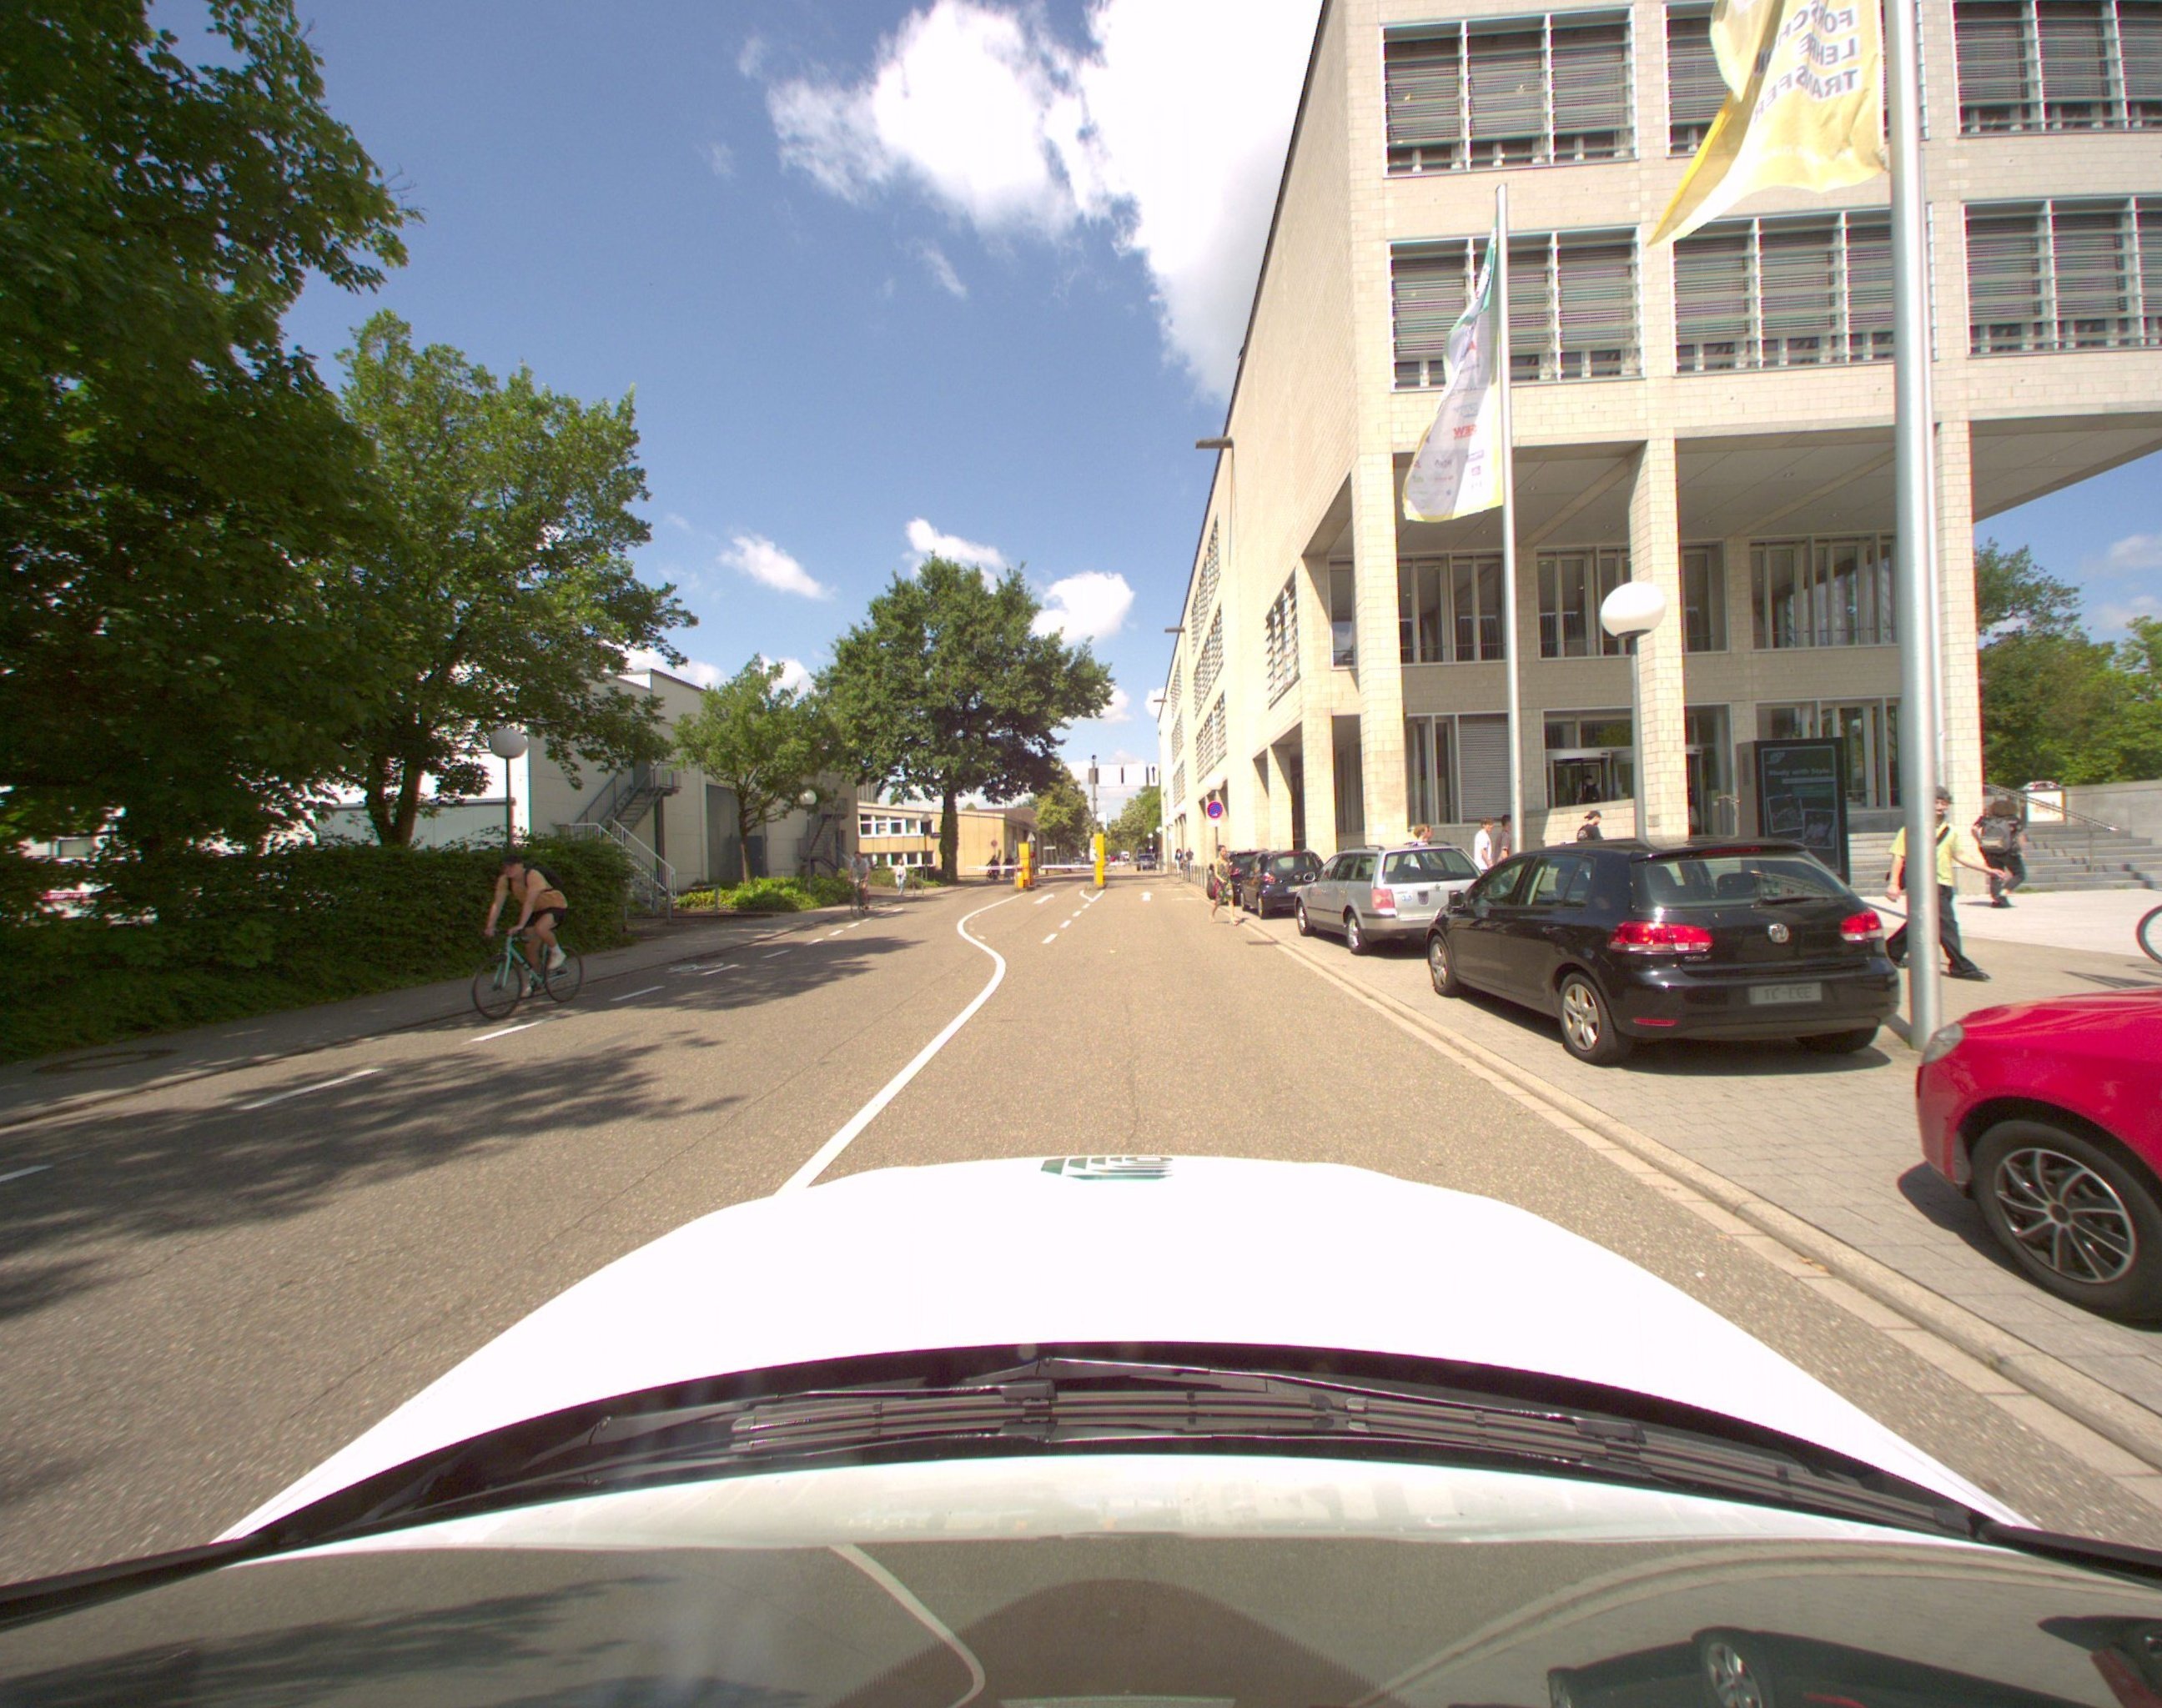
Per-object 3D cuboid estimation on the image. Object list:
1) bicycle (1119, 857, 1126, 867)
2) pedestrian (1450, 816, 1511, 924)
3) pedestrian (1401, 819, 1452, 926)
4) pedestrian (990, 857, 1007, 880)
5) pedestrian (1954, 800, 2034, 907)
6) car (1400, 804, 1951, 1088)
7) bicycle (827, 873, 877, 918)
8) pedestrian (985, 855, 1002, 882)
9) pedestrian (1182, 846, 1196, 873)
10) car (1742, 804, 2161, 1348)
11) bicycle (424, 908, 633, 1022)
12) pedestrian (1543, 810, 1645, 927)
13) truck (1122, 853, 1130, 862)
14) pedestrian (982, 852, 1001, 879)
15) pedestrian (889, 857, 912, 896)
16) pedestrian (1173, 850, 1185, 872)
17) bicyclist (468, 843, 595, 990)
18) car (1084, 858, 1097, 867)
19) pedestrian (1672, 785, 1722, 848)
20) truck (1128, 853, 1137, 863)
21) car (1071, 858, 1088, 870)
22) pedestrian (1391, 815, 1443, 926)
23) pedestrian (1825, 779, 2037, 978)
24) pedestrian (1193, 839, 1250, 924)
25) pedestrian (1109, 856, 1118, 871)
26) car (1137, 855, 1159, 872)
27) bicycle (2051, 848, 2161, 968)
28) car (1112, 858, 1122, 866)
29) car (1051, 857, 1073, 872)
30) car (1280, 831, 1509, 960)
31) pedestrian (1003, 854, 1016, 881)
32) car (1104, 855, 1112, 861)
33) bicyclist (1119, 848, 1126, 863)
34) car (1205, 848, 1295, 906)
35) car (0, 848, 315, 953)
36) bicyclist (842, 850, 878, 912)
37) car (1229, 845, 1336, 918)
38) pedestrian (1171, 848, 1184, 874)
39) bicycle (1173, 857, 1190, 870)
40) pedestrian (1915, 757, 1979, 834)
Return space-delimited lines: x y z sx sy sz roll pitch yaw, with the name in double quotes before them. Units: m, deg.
"bicycle" 6.050 1.185 118.849 0.983 1.316 2.965 -2 -2 3
"pedestrian" 7.358 0.289 15.031 0.721 1.925 0.751 -2 -1 2
"pedestrian" 6.465 0.342 15.233 0.775 1.925 0.739 -2 -1 25
"pedestrian" -6.044 1.045 59.611 0.876 1.632 0.902 -2 -2 30
"pedestrian" 14.457 -0.008 12.903 0.694 1.639 0.731 -2 -1 -35
"car" 4.204 0.547 6.704 1.712 1.529 4.004 -4 -1 4
"bicycle" -6.526 1.157 23.338 0.690 1.171 2.211 -2 -1 2
"pedestrian" -6.089 0.975 56.660 1.052 1.816 0.806 -2 0 1
"pedestrian" 7.426 0.357 55.960 0.764 1.780 0.911 -4 0 1
"car" 3.759 0.591 1.621 1.607 1.496 4.150 -4 0 3
"bicycle" -6.182 1.195 9.320 0.790 0.989 2.211 -2 -1 2
"pedestrian" 8.819 0.245 14.048 1.090 1.920 1.022 -2 -1 4
"truck" 11.814 0.960 213.197 1.986 2.271 4.617 -2 -2 2
"pedestrian" -6.472 0.848 58.682 0.876 1.925 1.012 -2 -2 30
"pedestrian" -7.795 0.973 35.233 0.710 1.627 0.884 -2 -1 2
"pedestrian" 7.403 0.518 61.406 0.738 1.632 0.888 -4 0 1
"bicyclist" -6.205 0.678 9.252 0.690 1.548 1.019 -2 -1 2
"car" 1.567 1.403 135.615 1.985 1.546 4.215 -2 0 3
"pedestrian" 16.261 -0.970 21.510 0.714 1.585 0.717 -2 -2 5
"truck" 11.549 0.943 182.918 1.986 2.014 4.001 -2 -2 2
"car" -0.175 1.274 107.505 1.985 1.546 4.215 -2 0 3
"pedestrian" 6.022 0.290 14.576 0.776 1.925 0.597 -2 -1 25
"pedestrian" 7.993 0.220 7.726 0.914 1.740 1.002 -2 -1 3
"pedestrian" 2.957 0.572 17.225 0.626 1.717 1.030 -2 -1 -29
"pedestrian" 3.686 1.067 91.946 0.891 1.632 0.887 -1 -1 0
"car" 6.367 0.862 77.902 1.985 1.546 4.215 -2 0 3
"bicycle" 10.284 0.470 7.129 0.899 1.079 2.151 -2 -1 -4
"car" 8.155 1.858 185.305 1.984 1.720 4.006 -2 -2 6
"car" -1.967 1.086 85.596 1.985 1.546 4.215 -2 0 3
"car" 4.518 0.536 12.585 1.713 1.529 4.566 -4 0 0
"pedestrian" -4.973 0.913 56.378 0.702 1.809 1.002 -2 0 2
"car" 7.923 1.176 240.036 1.984 1.720 4.006 -2 -2 6
"bicyclist" 6.014 0.276 118.948 0.983 2.132 1.037 -2 -2 2
"car" 4.766 0.616 23.558 1.858 1.464 4.523 -2 0 3
"car" -19.827 0.983 17.558 4.897 1.986 2.002 -2 -2 4
"bicyclist" -6.341 0.760 23.394 0.690 1.737 0.919 -2 -1 2
"car" 4.619 0.589 19.177 1.608 1.496 4.008 -2 0 2
"pedestrian" 6.639 0.476 55.859 0.692 1.780 1.086 -4 0 1
"bicycle" 9.234 0.873 74.777 1.534 1.066 0.649 -3 -1 10
"pedestrian" 21.465 -1.436 20.203 0.714 1.798 0.717 -2 -2 5
